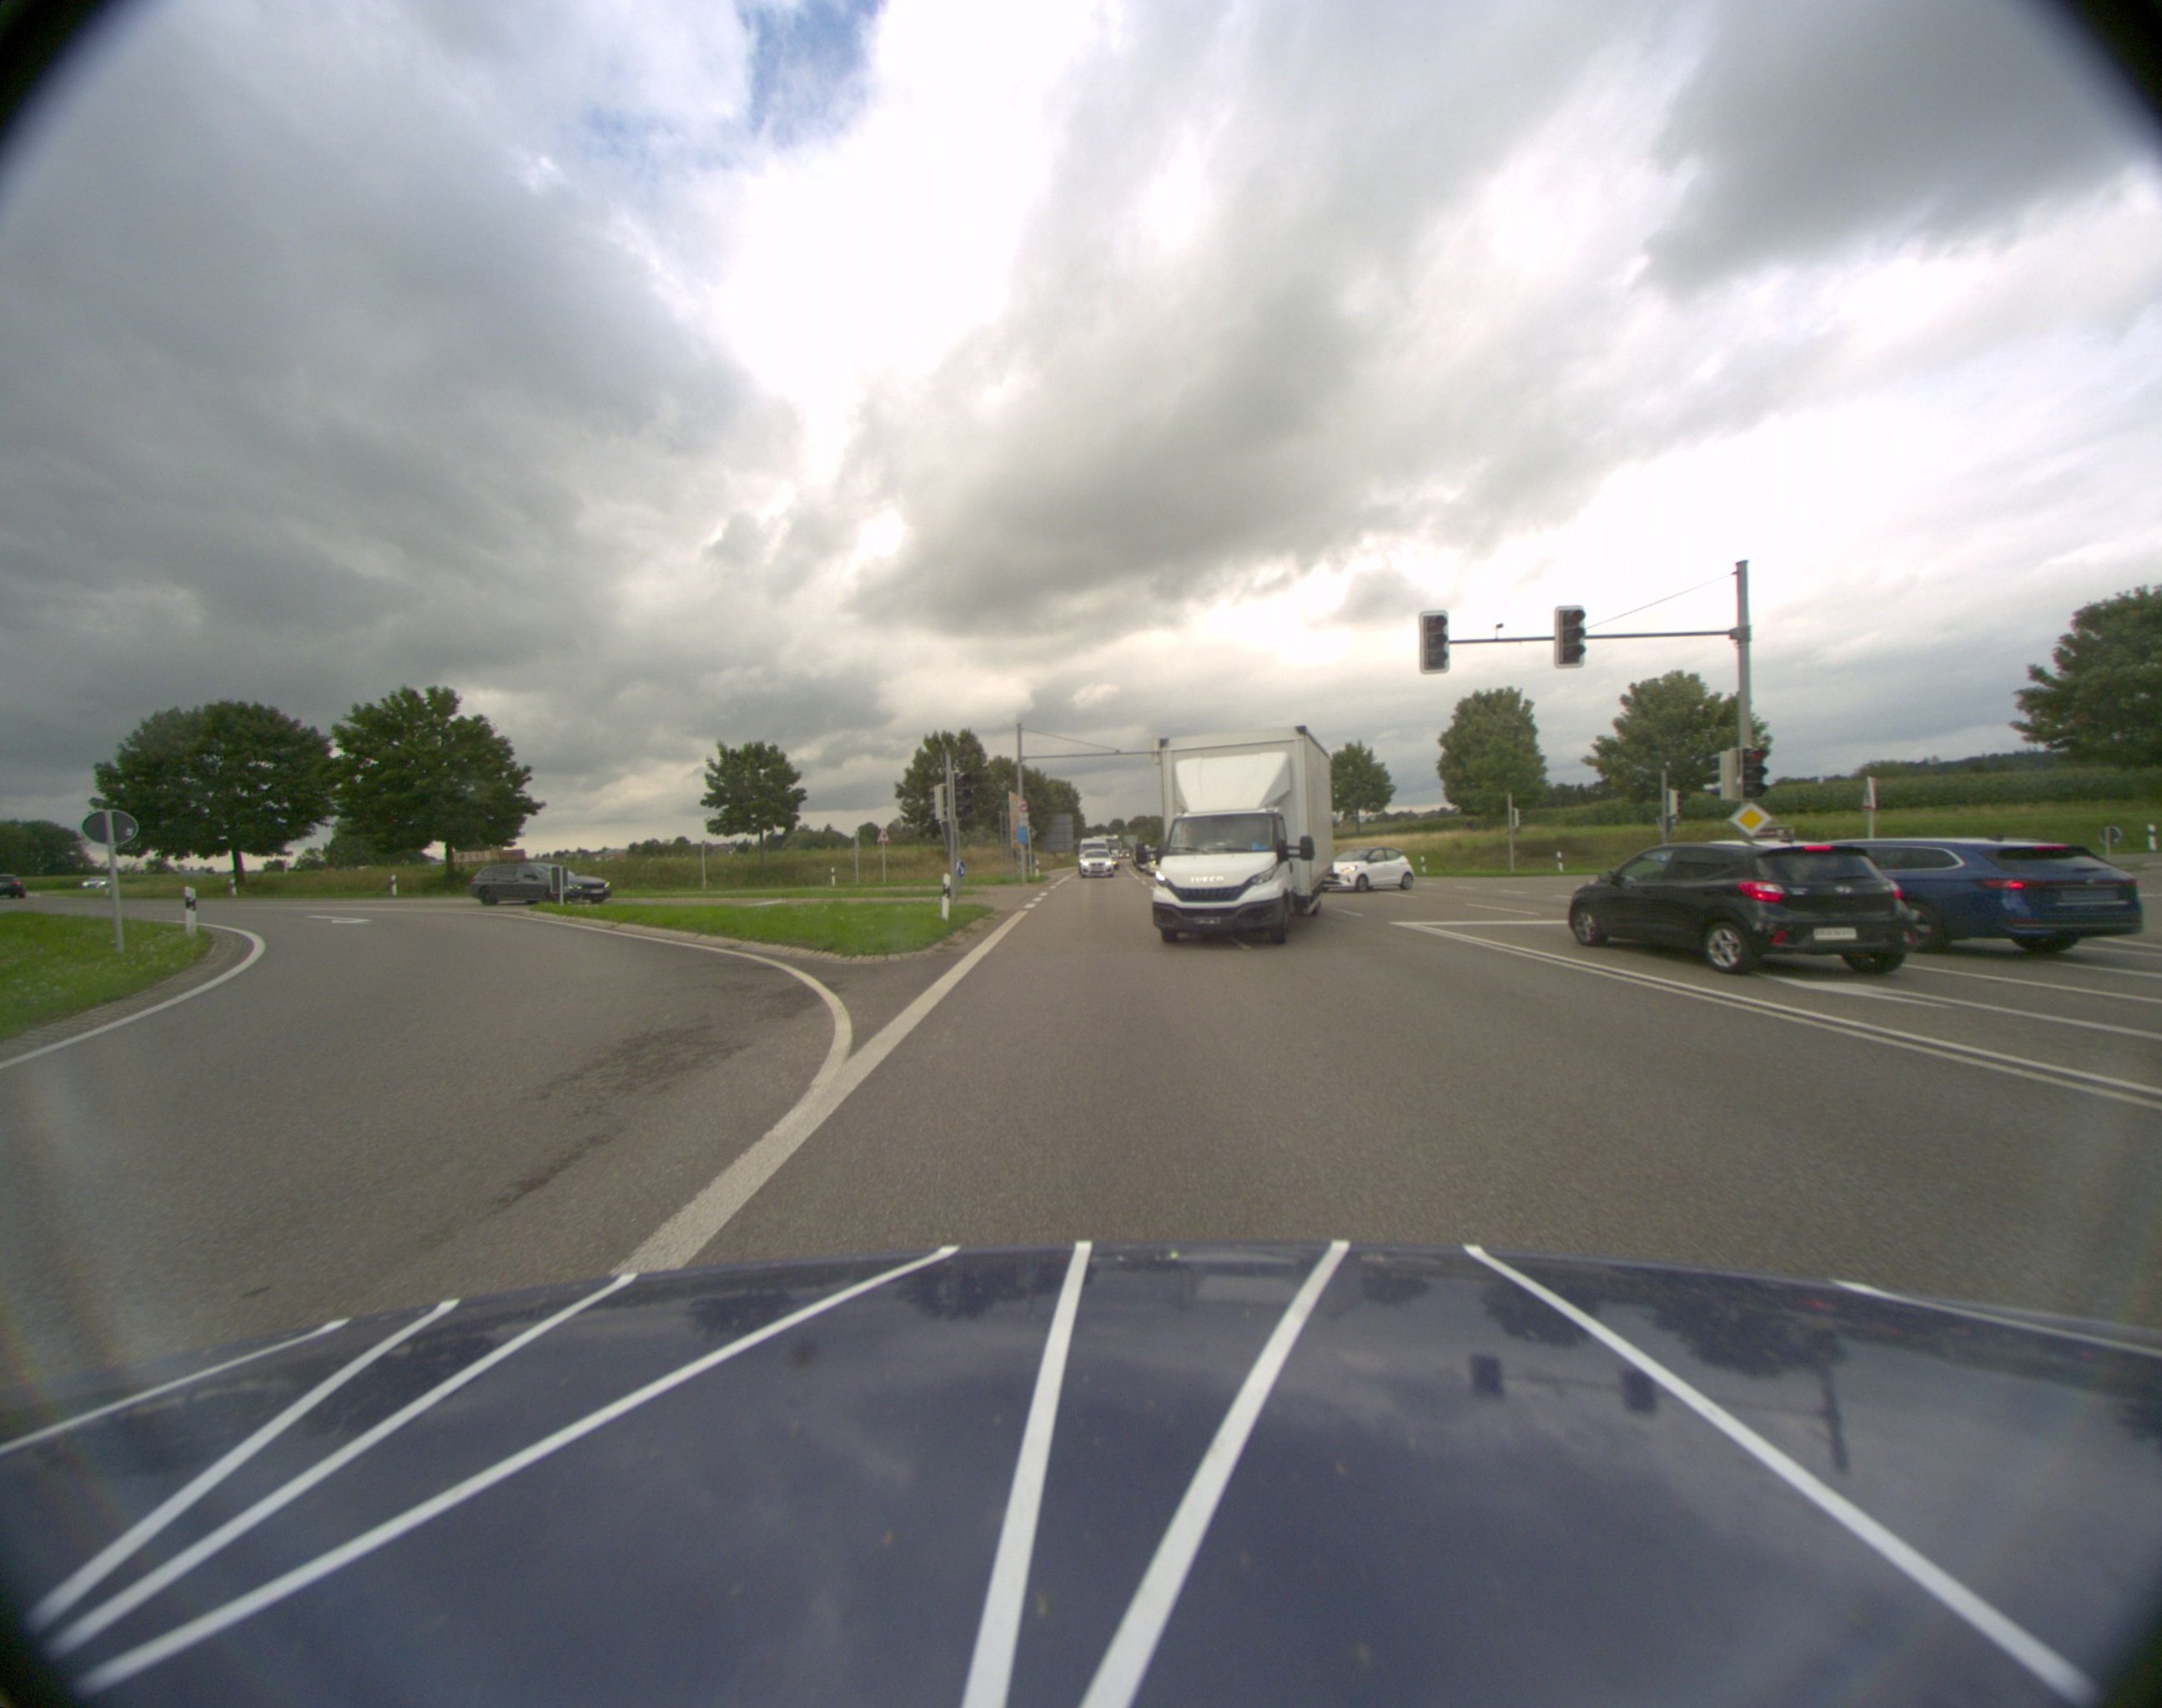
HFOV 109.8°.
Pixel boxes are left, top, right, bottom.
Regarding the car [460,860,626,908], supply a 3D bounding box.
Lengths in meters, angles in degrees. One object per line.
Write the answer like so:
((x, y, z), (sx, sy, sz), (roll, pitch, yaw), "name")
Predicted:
((-18.500, 1.019, 26.208), (4.659, 1.494, 2.002), (-1, 1, 12), "car")

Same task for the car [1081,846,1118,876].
((1.109, 0.387, 45.055), (1.998, 1.619, 4.274), (-3, 1, 1), "car")

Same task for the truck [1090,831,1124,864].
((2.583, -0.660, 75.248), (3.106, 3.091, 7.407), (-2, 1, 2), "truck")

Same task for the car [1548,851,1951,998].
((7.936, 0.705, 9.618), (1.730, 1.435, 3.944), (-1, 1, 2), "car")

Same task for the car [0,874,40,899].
((-65.715, 2.021, 46.456), (4.262, 1.442, 1.816), (-2, 1, 29), "car")

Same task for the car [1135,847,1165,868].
((5.366, 0.244, 59.463), (1.998, 1.446, 4.581), (-2, 1, 2), "car")

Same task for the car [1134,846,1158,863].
((6.241, 0.036, 73.588), (1.998, 1.583, 4.447), (-2, 1, 2), "car")

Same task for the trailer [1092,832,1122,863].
((2.889, -0.744, 84.255), (3.106, 3.073, 10.661), (-2, 1, 2), "trailer")

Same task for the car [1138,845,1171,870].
((5.094, 0.206, 53.004), (1.998, 1.620, 4.323), (-3, 1, 2), "car")

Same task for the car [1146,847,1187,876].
((5.044, 0.383, 45.327), (1.998, 1.556, 4.748), (-3, 1, 2), "car")

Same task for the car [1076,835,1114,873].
((1.038, -0.045, 53.374), (2.396, 2.427, 5.513), (-3, 1, 3), "car")

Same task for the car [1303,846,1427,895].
((9.674, 0.532, 25.818), (4.006, 1.444, 1.806), (-2, 1, -31), "car")

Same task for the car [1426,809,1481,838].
((29.322, -2.362, 59.891), (1.999, 2.002, 3.998), (-4, 0, -5), "car")

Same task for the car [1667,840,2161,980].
((11.580, 0.601, 11.102), (2.050, 1.526, 5.125), (-2, 1, 0), "car")

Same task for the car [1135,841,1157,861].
((6.997, -0.333, 82.008), (2.168, 2.002, 4.680), (-2, 1, 3), "car")

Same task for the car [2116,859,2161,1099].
((7.683, 0.786, 2.450), (2.053, 1.475, 4.881), (-1, 1, 1), "car")

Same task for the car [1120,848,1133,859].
((8.643, -0.186, 143.888), (2.169, 2.002, 4.061), (-2, 1, -1), "car")

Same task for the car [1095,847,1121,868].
((2.218, 0.251, 62.051), (1.998, 1.619, 4.275), (-3, 1, 2), "car")

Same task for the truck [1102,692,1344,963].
((3.387, -0.429, 15.111), (2.832, 3.742, 8.813), (-1, 1, 23), "truck")
